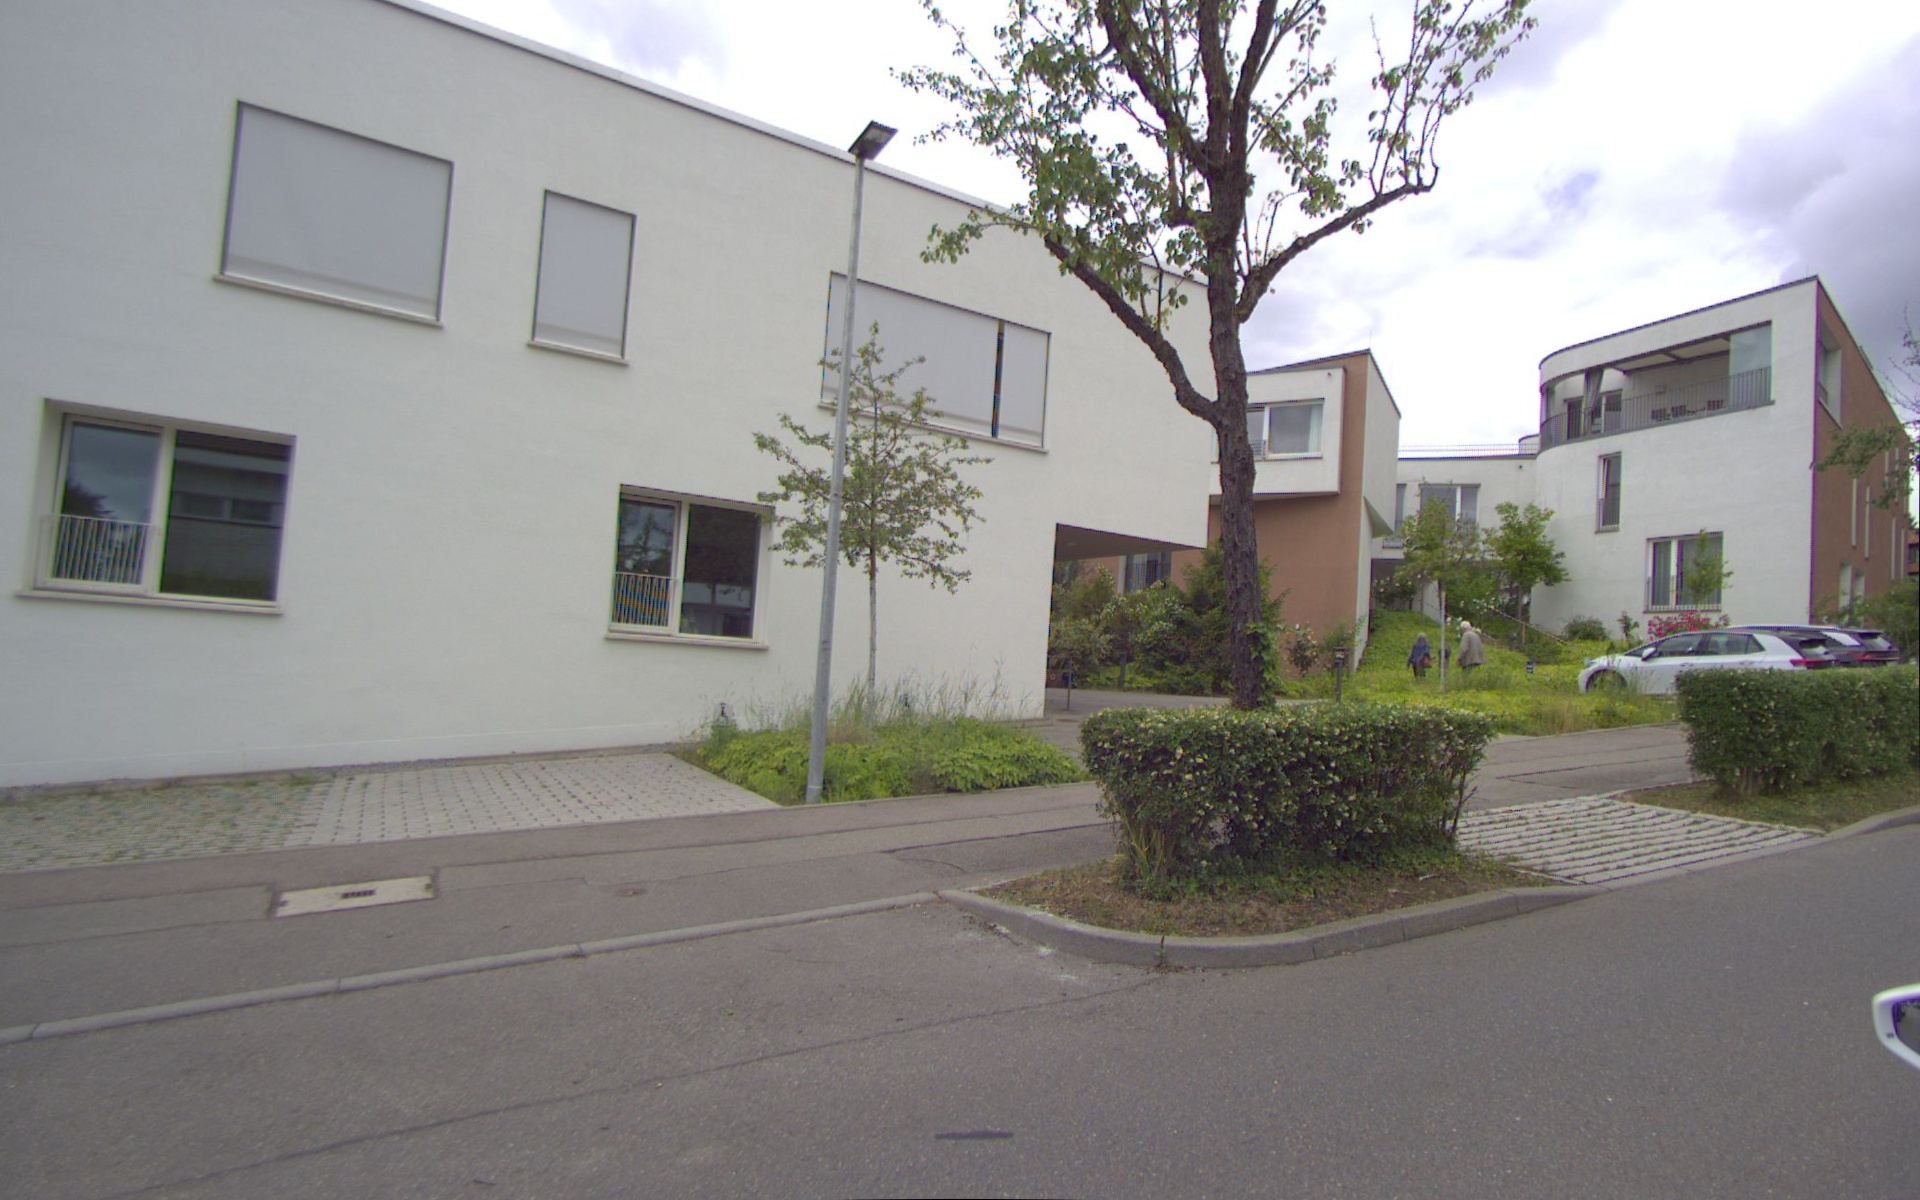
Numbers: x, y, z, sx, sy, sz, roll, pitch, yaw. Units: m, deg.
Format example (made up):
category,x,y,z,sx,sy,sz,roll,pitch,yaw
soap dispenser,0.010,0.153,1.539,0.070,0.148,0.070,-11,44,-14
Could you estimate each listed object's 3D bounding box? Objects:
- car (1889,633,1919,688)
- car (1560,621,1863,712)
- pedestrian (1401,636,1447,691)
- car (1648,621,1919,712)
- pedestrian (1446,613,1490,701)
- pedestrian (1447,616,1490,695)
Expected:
category,x,y,z,sx,sy,sz,roll,pitch,yaw
car,30.576,1.806,29.660,1.992,1.644,4.237,3,-4,-32
car,14.706,1.250,19.920,2.043,1.587,4.365,1,-3,-31
pedestrian,11.401,1.548,24.679,0.889,1.300,0.604,1,0,-31
car,17.101,1.305,21.071,1.984,1.675,3.970,1,-1,-29
pedestrian,10.030,1.111,19.856,0.513,1.704,0.586,1,-2,-29
pedestrian,11.007,1.198,21.754,0.558,1.662,0.591,1,-2,-29
